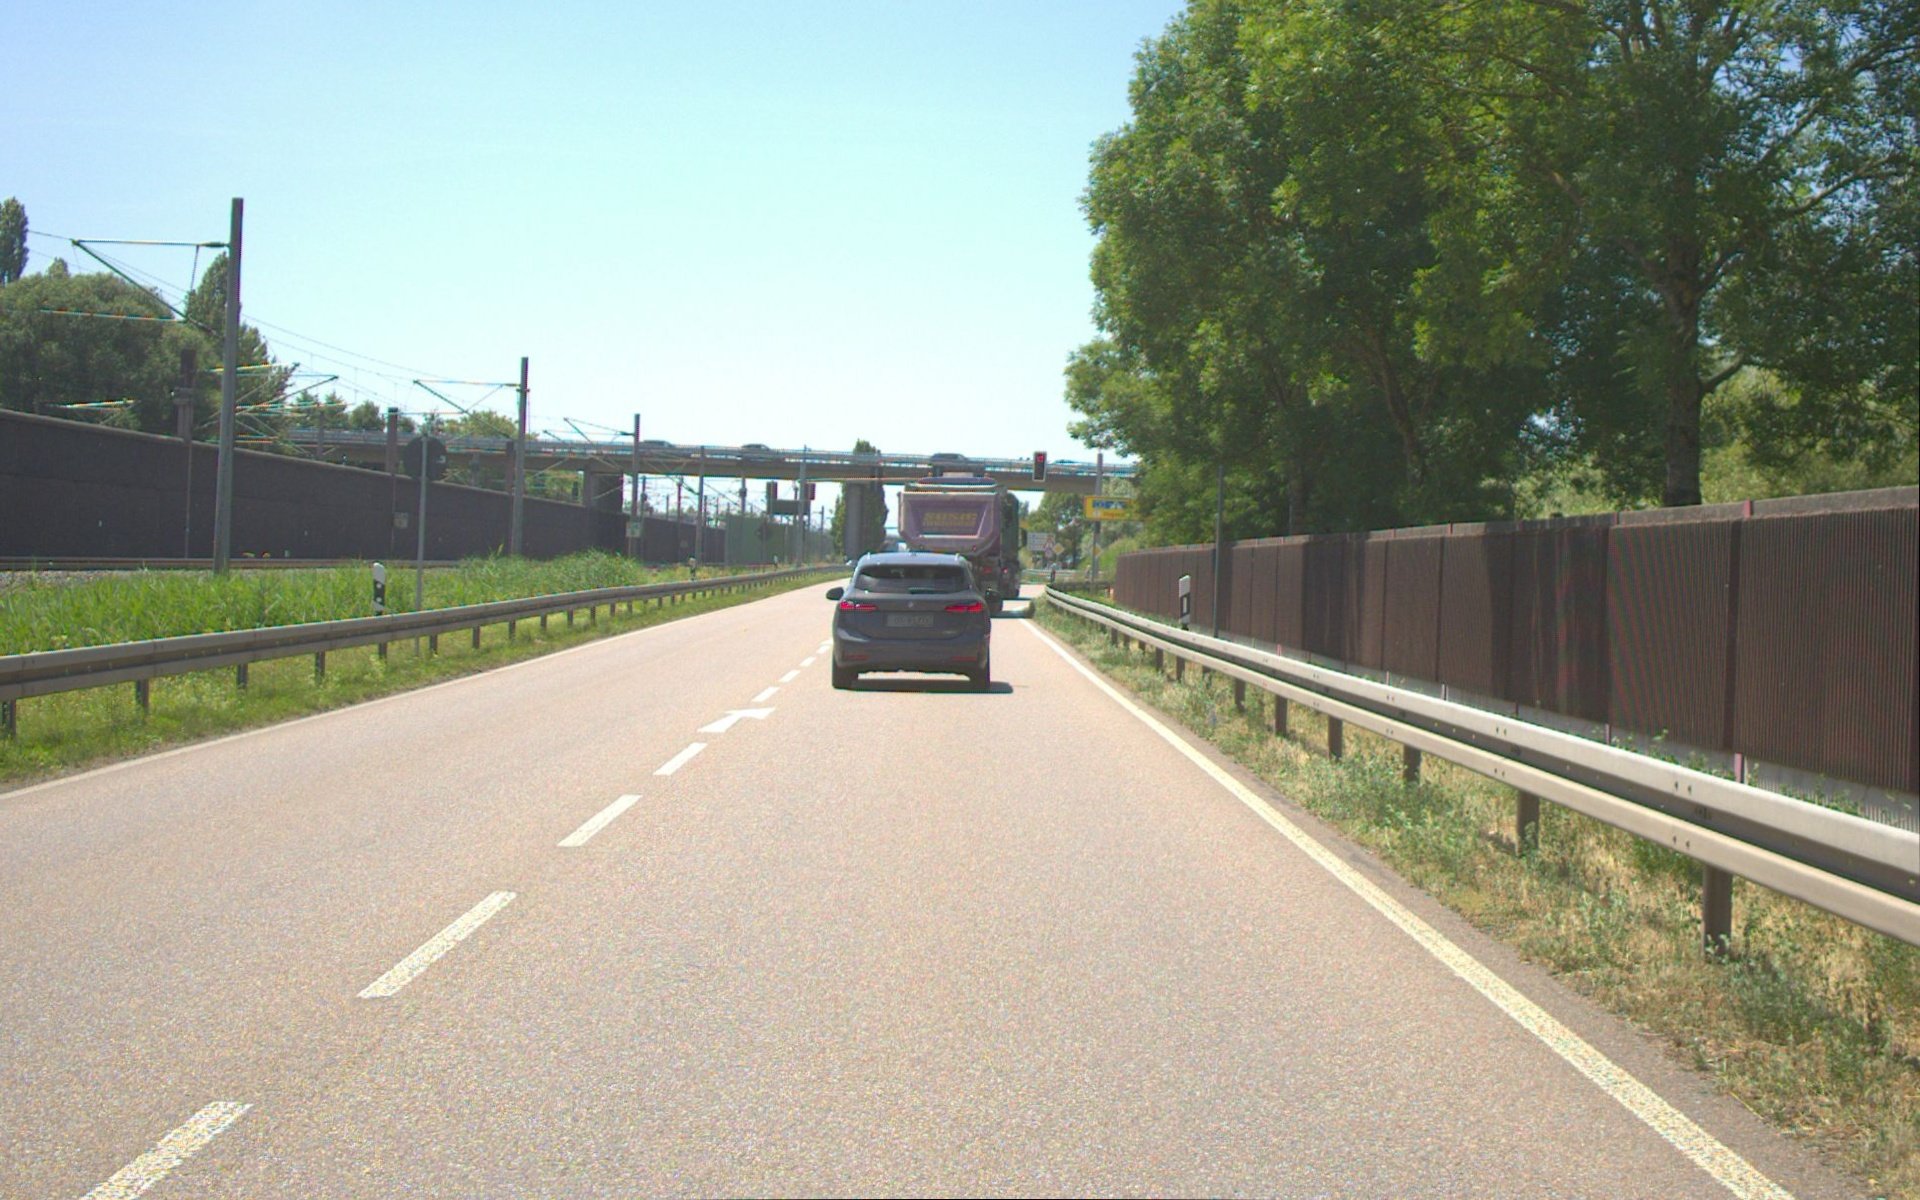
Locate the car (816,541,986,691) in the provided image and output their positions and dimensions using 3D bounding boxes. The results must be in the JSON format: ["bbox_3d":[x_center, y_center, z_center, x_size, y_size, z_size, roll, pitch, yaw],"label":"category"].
[{"bbox_3d":[-0.691,0.155,40.247,1.844,1.617,4.226,1,1,-1],"label":"car"}]

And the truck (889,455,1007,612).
[{"bbox_3d":[-0.247,-1.709,90.796,2.833,3.808,11.885,1,1,0],"label":"truck"}]

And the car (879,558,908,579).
[{"bbox_3d":[-4.910,-2.335,254.694,1.864,1.480,4.888,1,1,-4],"label":"car"}]
